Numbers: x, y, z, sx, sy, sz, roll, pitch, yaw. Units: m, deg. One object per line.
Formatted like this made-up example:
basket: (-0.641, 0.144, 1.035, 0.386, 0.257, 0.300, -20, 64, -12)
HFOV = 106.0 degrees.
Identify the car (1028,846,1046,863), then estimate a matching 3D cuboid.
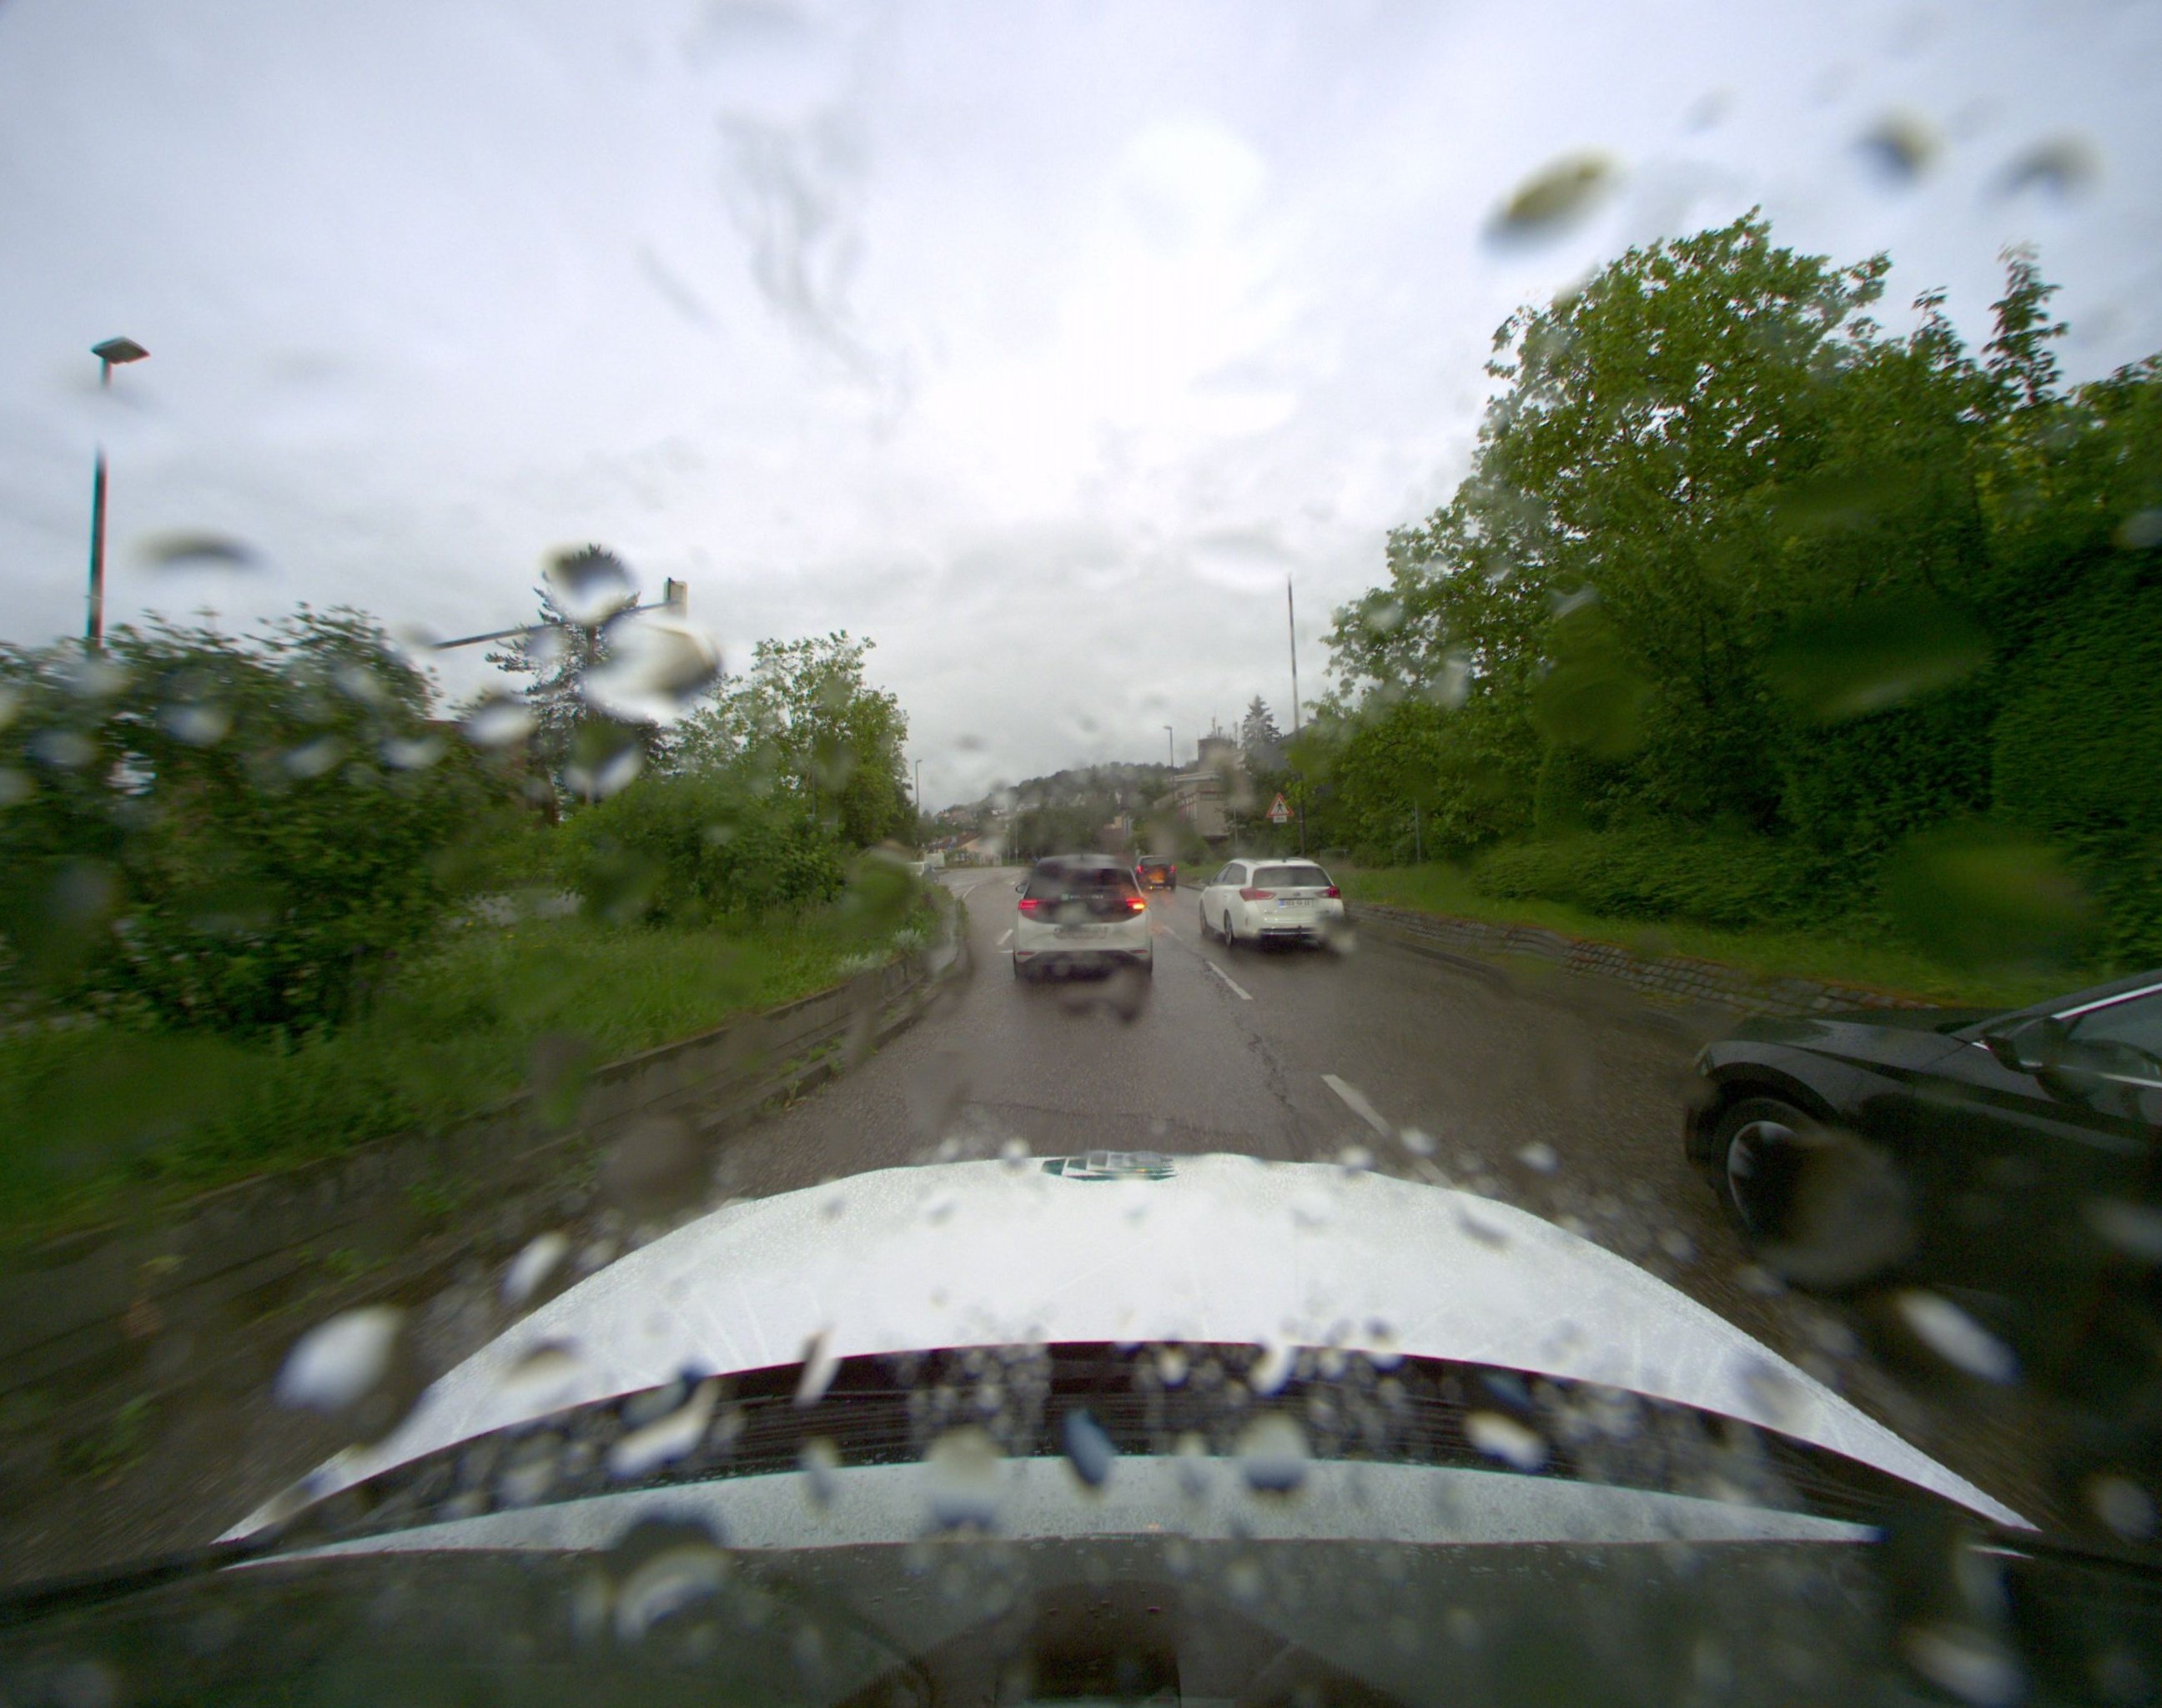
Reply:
car: (-5.528, 0.108, 101.927, 1.987, 2.014, 3.999, 0, -1, 0)

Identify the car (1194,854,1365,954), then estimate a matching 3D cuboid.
car: (3.184, 0.761, 13.961, 1.842, 1.410, 4.300, -1, -1, 0)

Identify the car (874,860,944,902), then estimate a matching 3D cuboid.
car: (-7.610, 1.148, 36.541, 1.986, 1.662, 4.598, -2, -1, 1)

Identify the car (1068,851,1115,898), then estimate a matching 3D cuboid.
car: (0.349, 0.694, 29.497, 1.562, 1.530, 3.999, -2, 0, 0)

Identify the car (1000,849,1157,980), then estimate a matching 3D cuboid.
car: (0.048, 0.746, 11.629, 1.821, 1.500, 4.170, -1, -1, 2)

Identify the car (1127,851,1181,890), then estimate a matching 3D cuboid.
car: (3.065, 0.701, 34.884, 1.986, 1.453, 3.772, -4, -1, 2)

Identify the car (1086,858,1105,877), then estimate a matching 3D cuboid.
car: (1.592, 1.459, 89.086, 1.986, 2.014, 4.002, -1, -1, 2)

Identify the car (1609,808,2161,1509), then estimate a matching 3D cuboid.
car: (3.301, 0.659, 1.323, 1.947, 1.507, 4.608, 1, -1, 0)
